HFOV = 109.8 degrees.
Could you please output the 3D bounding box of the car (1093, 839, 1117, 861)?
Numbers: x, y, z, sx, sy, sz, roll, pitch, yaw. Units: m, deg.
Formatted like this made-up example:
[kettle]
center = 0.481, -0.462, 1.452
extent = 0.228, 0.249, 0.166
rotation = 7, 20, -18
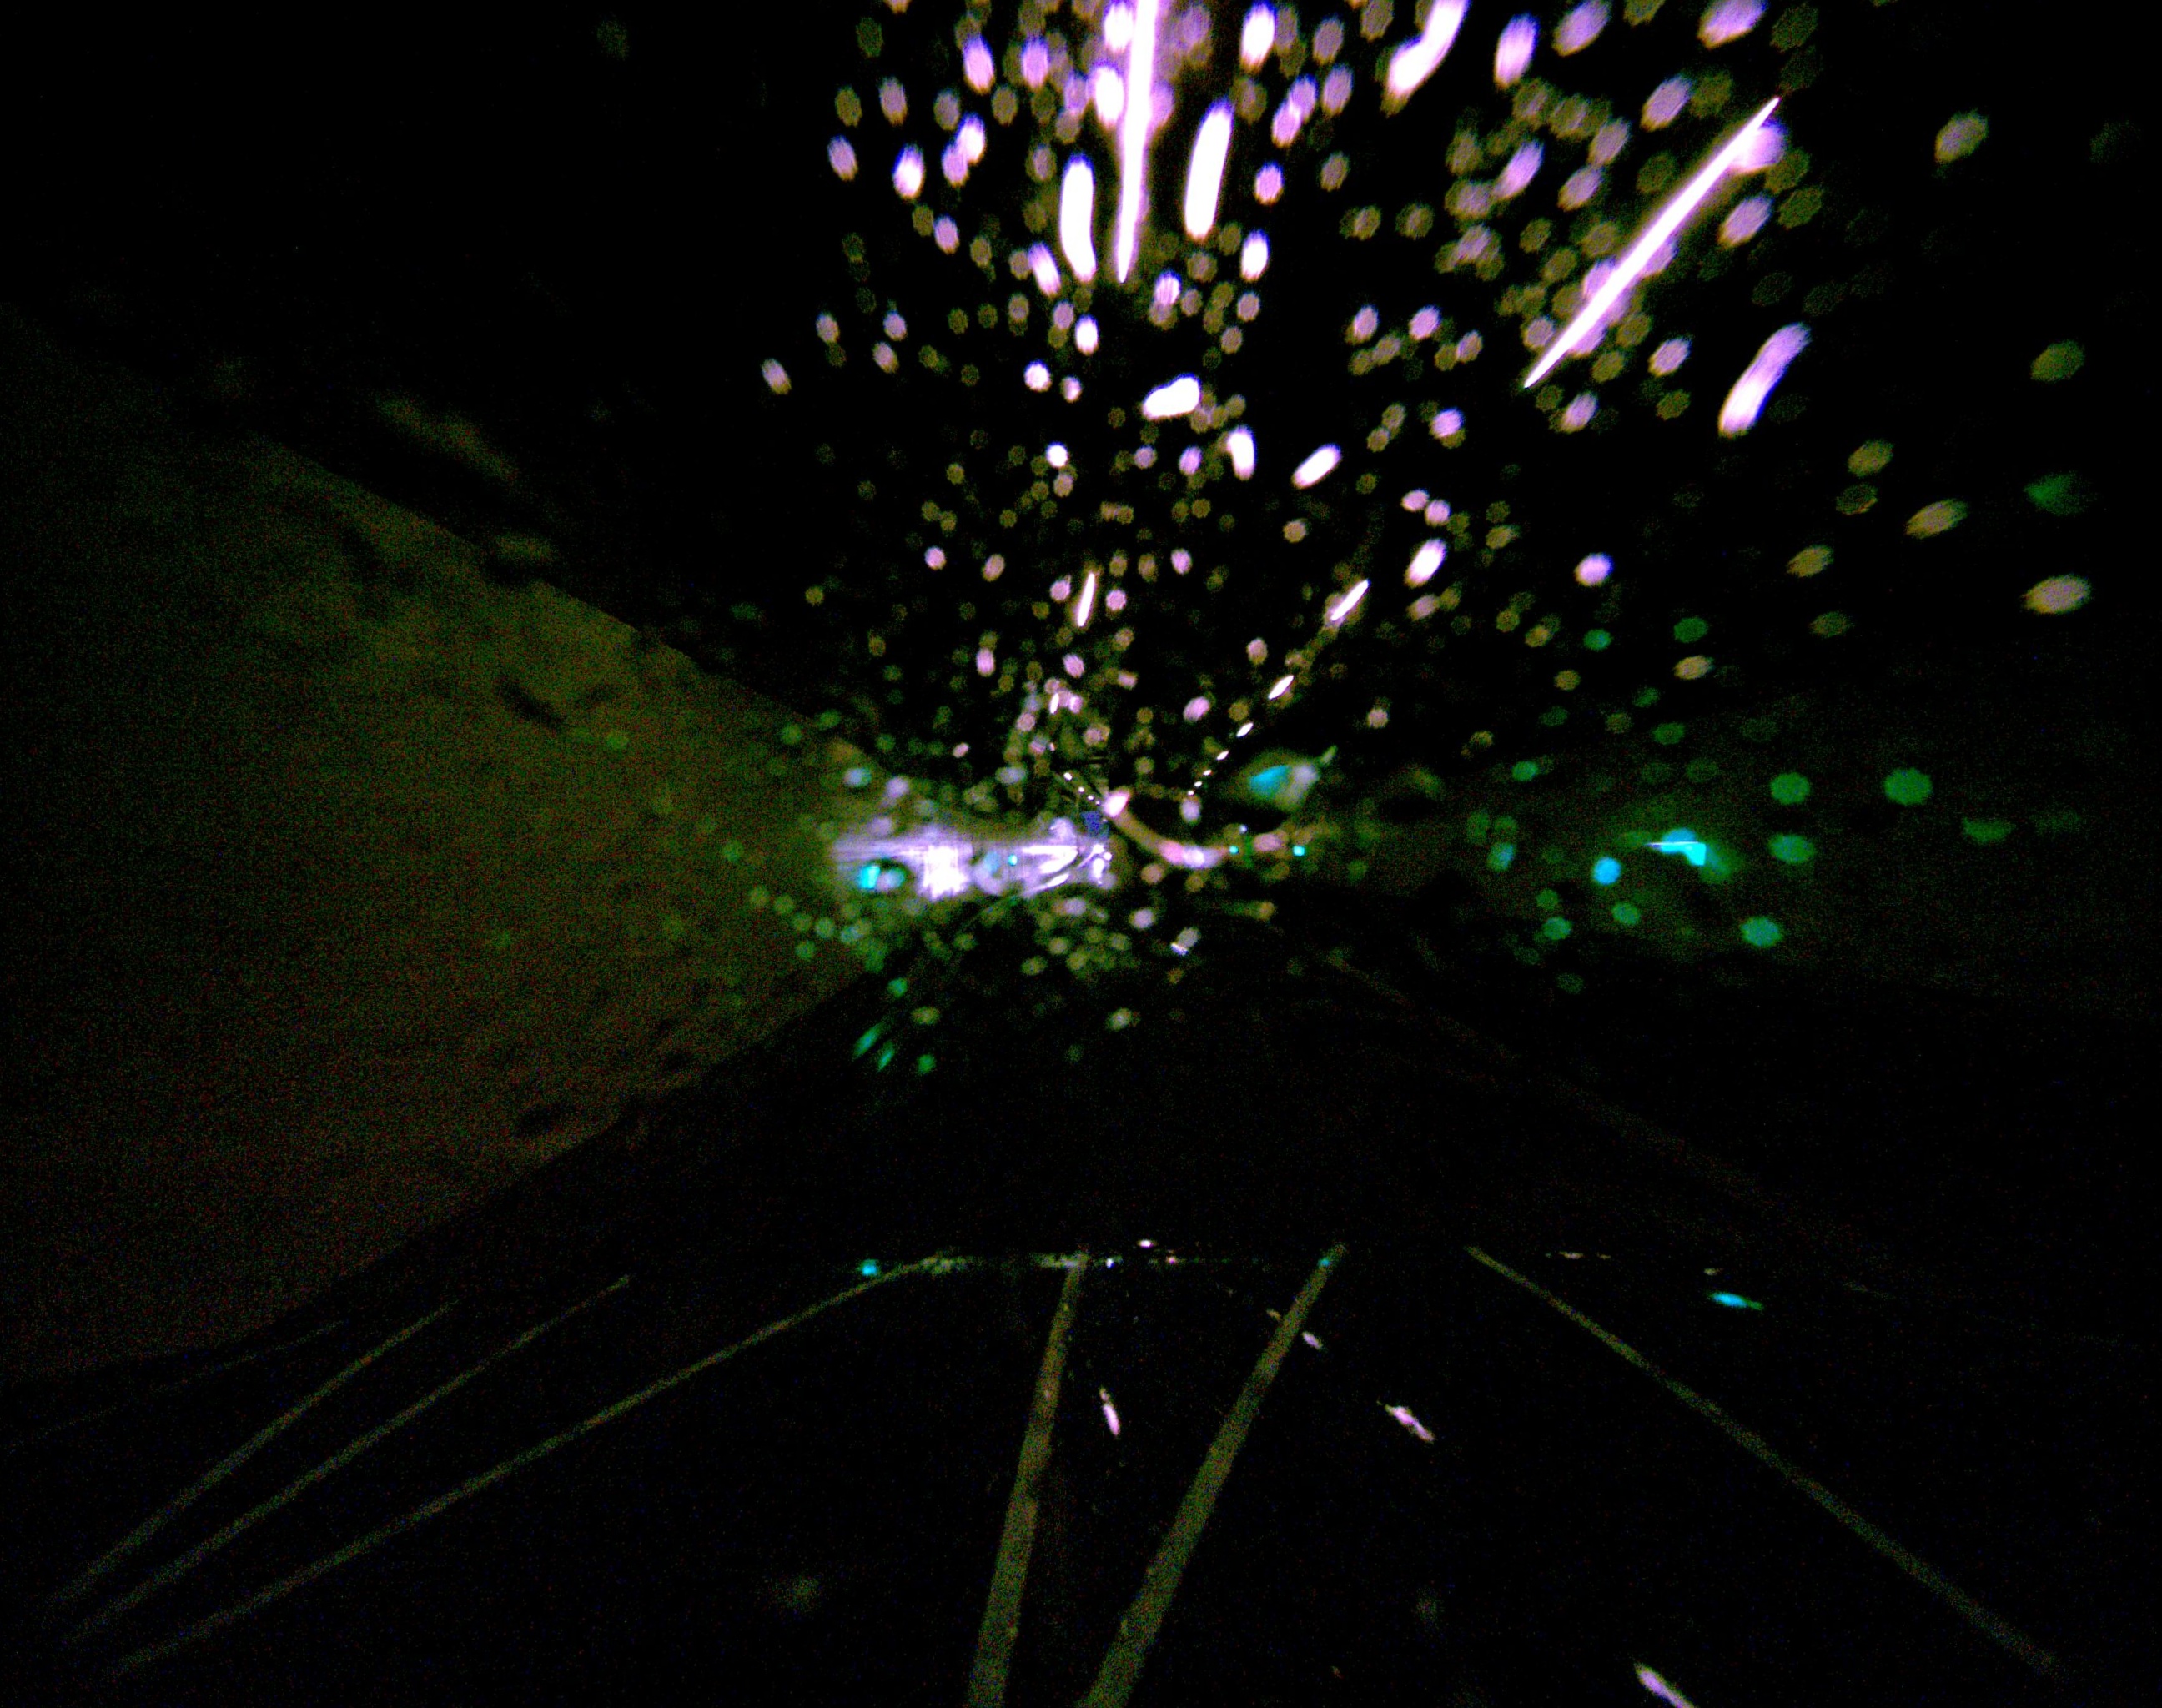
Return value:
[car]
center = 2.393, -0.364, 74.960
extent = 2.030, 2.017, 4.426
rotation = -2, 0, 5
